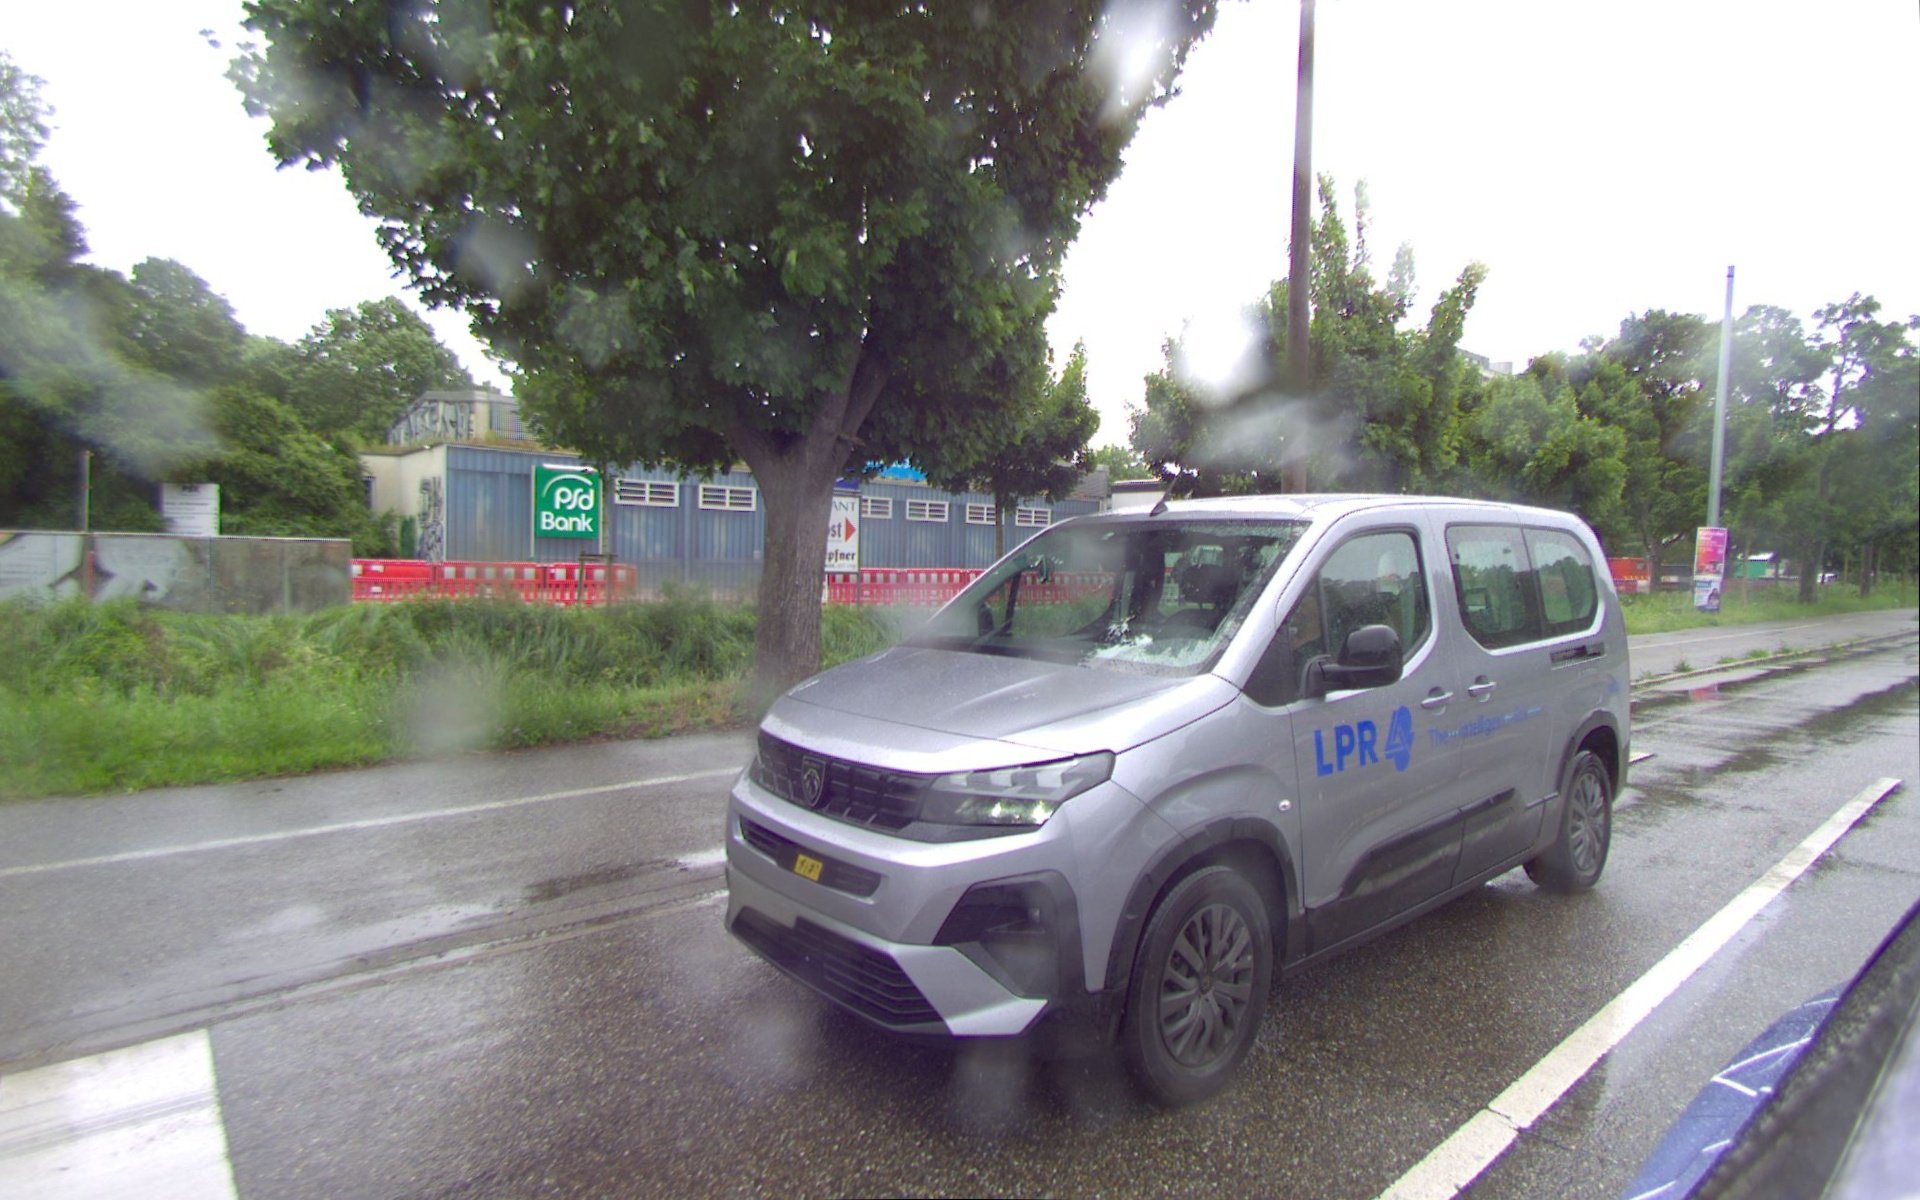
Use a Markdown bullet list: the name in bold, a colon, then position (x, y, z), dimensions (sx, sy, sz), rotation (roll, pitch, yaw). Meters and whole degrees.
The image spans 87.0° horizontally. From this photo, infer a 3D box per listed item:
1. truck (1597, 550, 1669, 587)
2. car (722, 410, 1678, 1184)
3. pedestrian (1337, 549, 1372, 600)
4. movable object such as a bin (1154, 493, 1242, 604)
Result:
- **truck**: position (55.511, -2.590, 83.431), dimensions (8.599, 2.935, 2.809), rotation (-2, 2, -41)
- **car**: position (1.422, 0.397, 4.604), dimensions (4.483, 1.818, 1.997), rotation (-1, 2, -41)
- **pedestrian**: position (15.261, -0.983, 39.156), dimensions (1.192, 1.960, 0.814), rotation (-1, 1, -41)
- **movable object such as a bin**: position (10.035, -2.129, 42.557), dimensions (3.839, 4.481, 1.557), rotation (-1, 1, -39)
